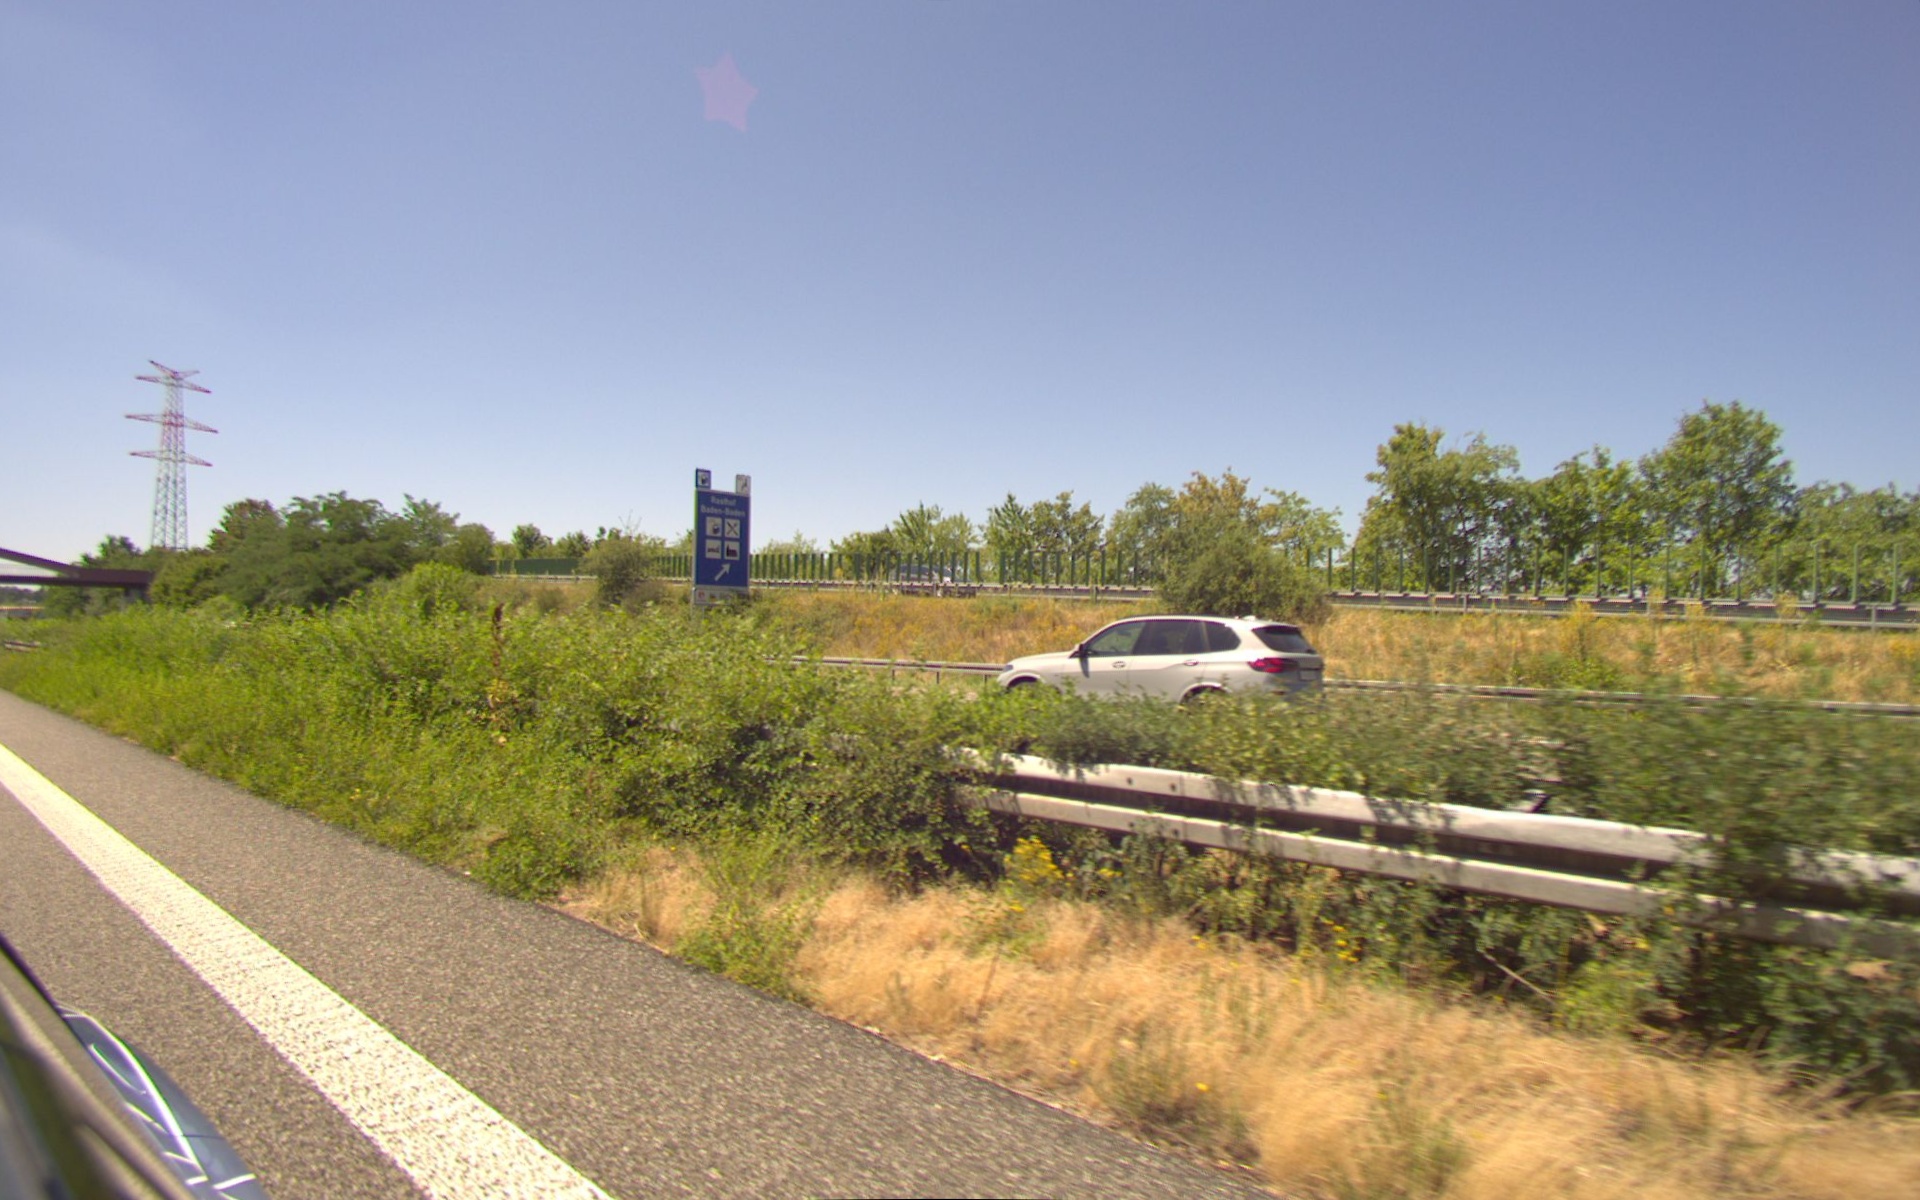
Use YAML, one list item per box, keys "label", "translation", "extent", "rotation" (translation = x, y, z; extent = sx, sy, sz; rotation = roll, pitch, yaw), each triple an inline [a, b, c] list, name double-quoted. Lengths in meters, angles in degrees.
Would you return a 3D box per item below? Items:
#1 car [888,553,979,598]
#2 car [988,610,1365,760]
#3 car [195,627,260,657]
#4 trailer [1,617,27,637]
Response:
- label: "car"
  translation: [-1.181, -1.005, 43.674]
  extent: [1.701, 1.807, 4.004]
  rotation: [0, 0, -43]
- label: "car"
  translation: [2.883, 1.067, 14.341]
  extent: [5.014, 1.779, 1.770]
  rotation: [-1, -2, 41]
- label: "car"
  translation: [-43.487, 2.444, 60.060]
  extent: [5.493, 1.695, 1.812]
  rotation: [-1, -3, 40]
- label: "trailer"
  translation: [-123.542, 3.479, 132.161]
  extent: [4.181, 2.538, 1.973]
  rotation: [-1, -3, 40]
